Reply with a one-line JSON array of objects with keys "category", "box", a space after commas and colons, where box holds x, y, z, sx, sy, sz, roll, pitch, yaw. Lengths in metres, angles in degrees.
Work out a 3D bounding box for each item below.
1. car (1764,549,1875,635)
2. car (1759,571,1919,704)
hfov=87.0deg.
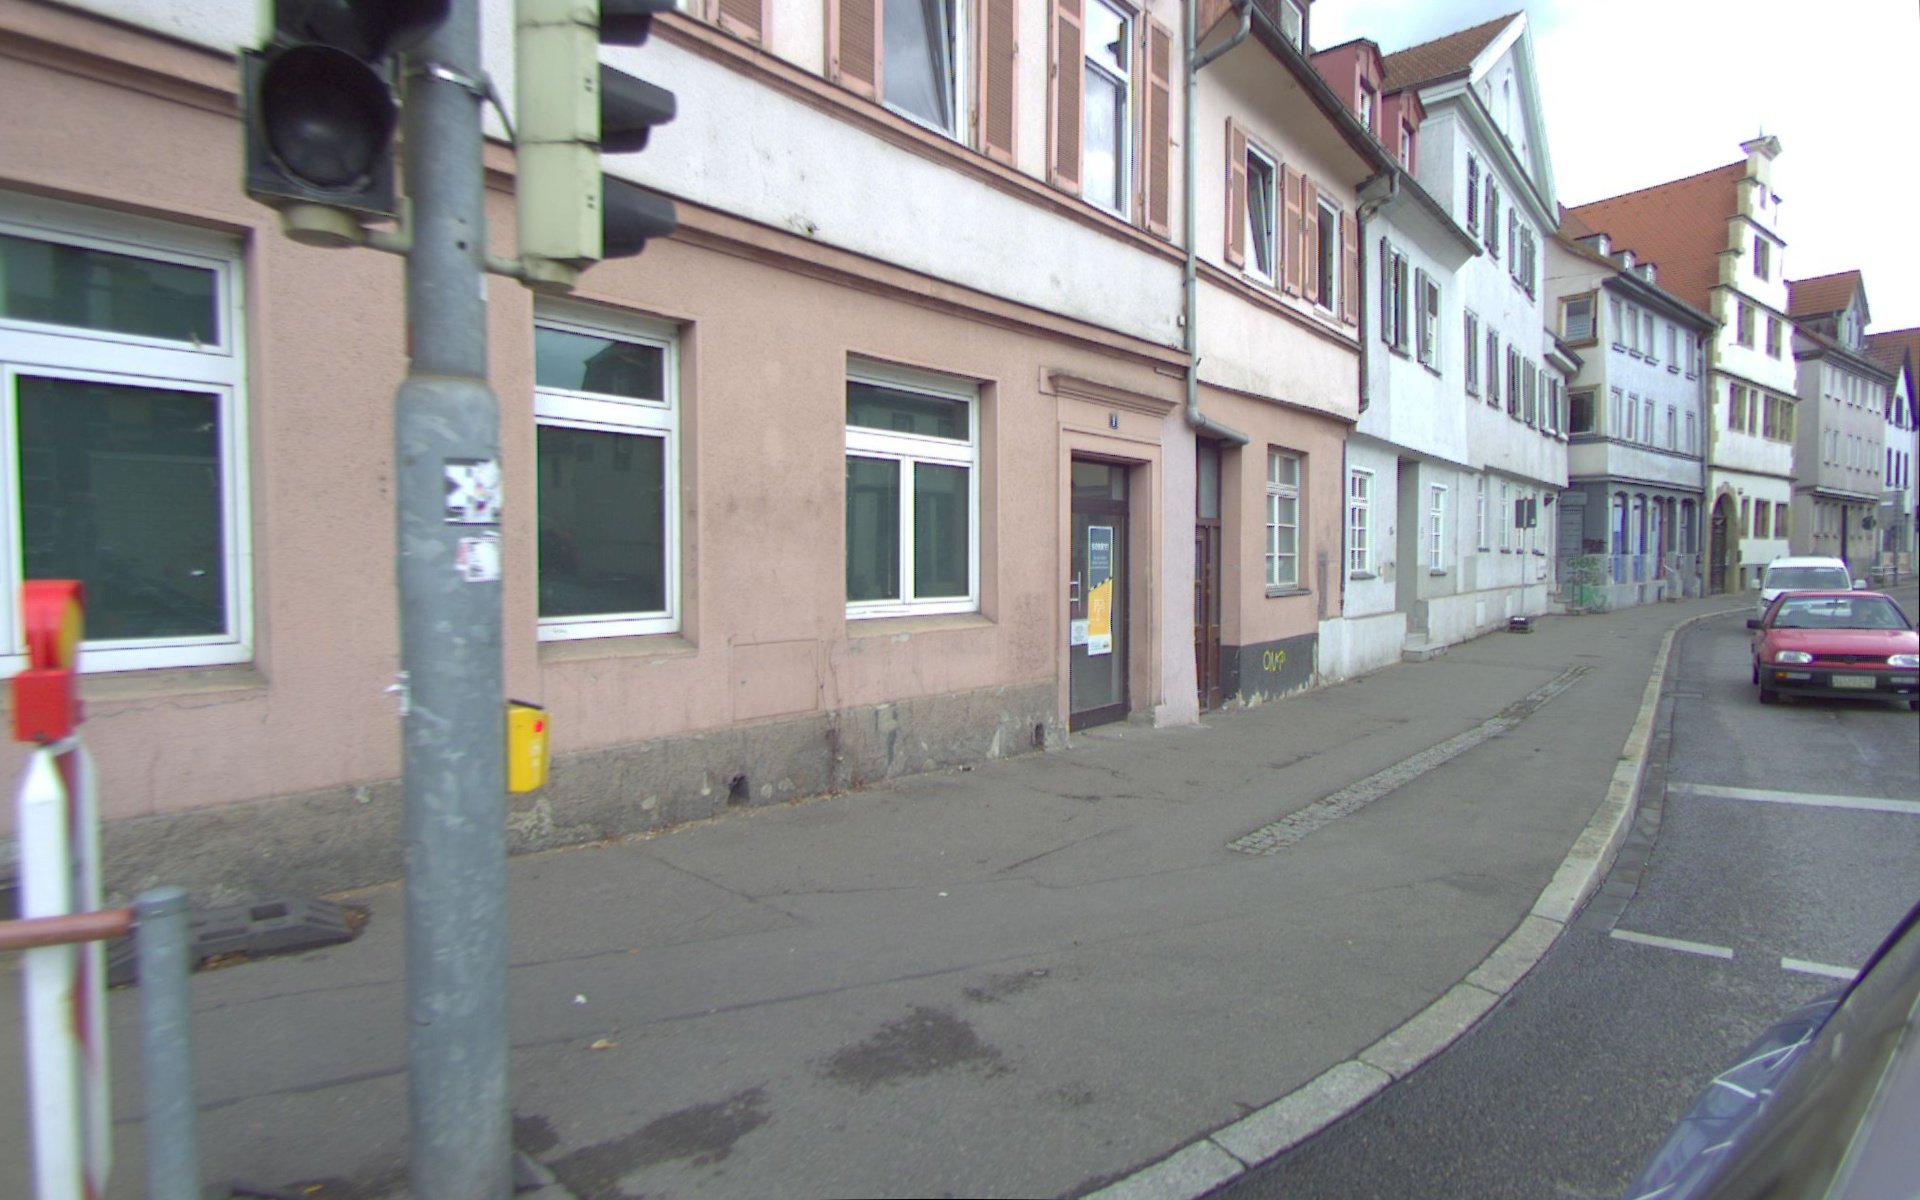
[{"category": "car", "box": [19.777, -0.246, 23.419, 1.797, 1.813, 4.288, 1, 2, 39]}, {"category": "car", "box": [11.810, 0.406, 13.430, 1.796, 1.485, 3.944, -2, 0, 39]}]
